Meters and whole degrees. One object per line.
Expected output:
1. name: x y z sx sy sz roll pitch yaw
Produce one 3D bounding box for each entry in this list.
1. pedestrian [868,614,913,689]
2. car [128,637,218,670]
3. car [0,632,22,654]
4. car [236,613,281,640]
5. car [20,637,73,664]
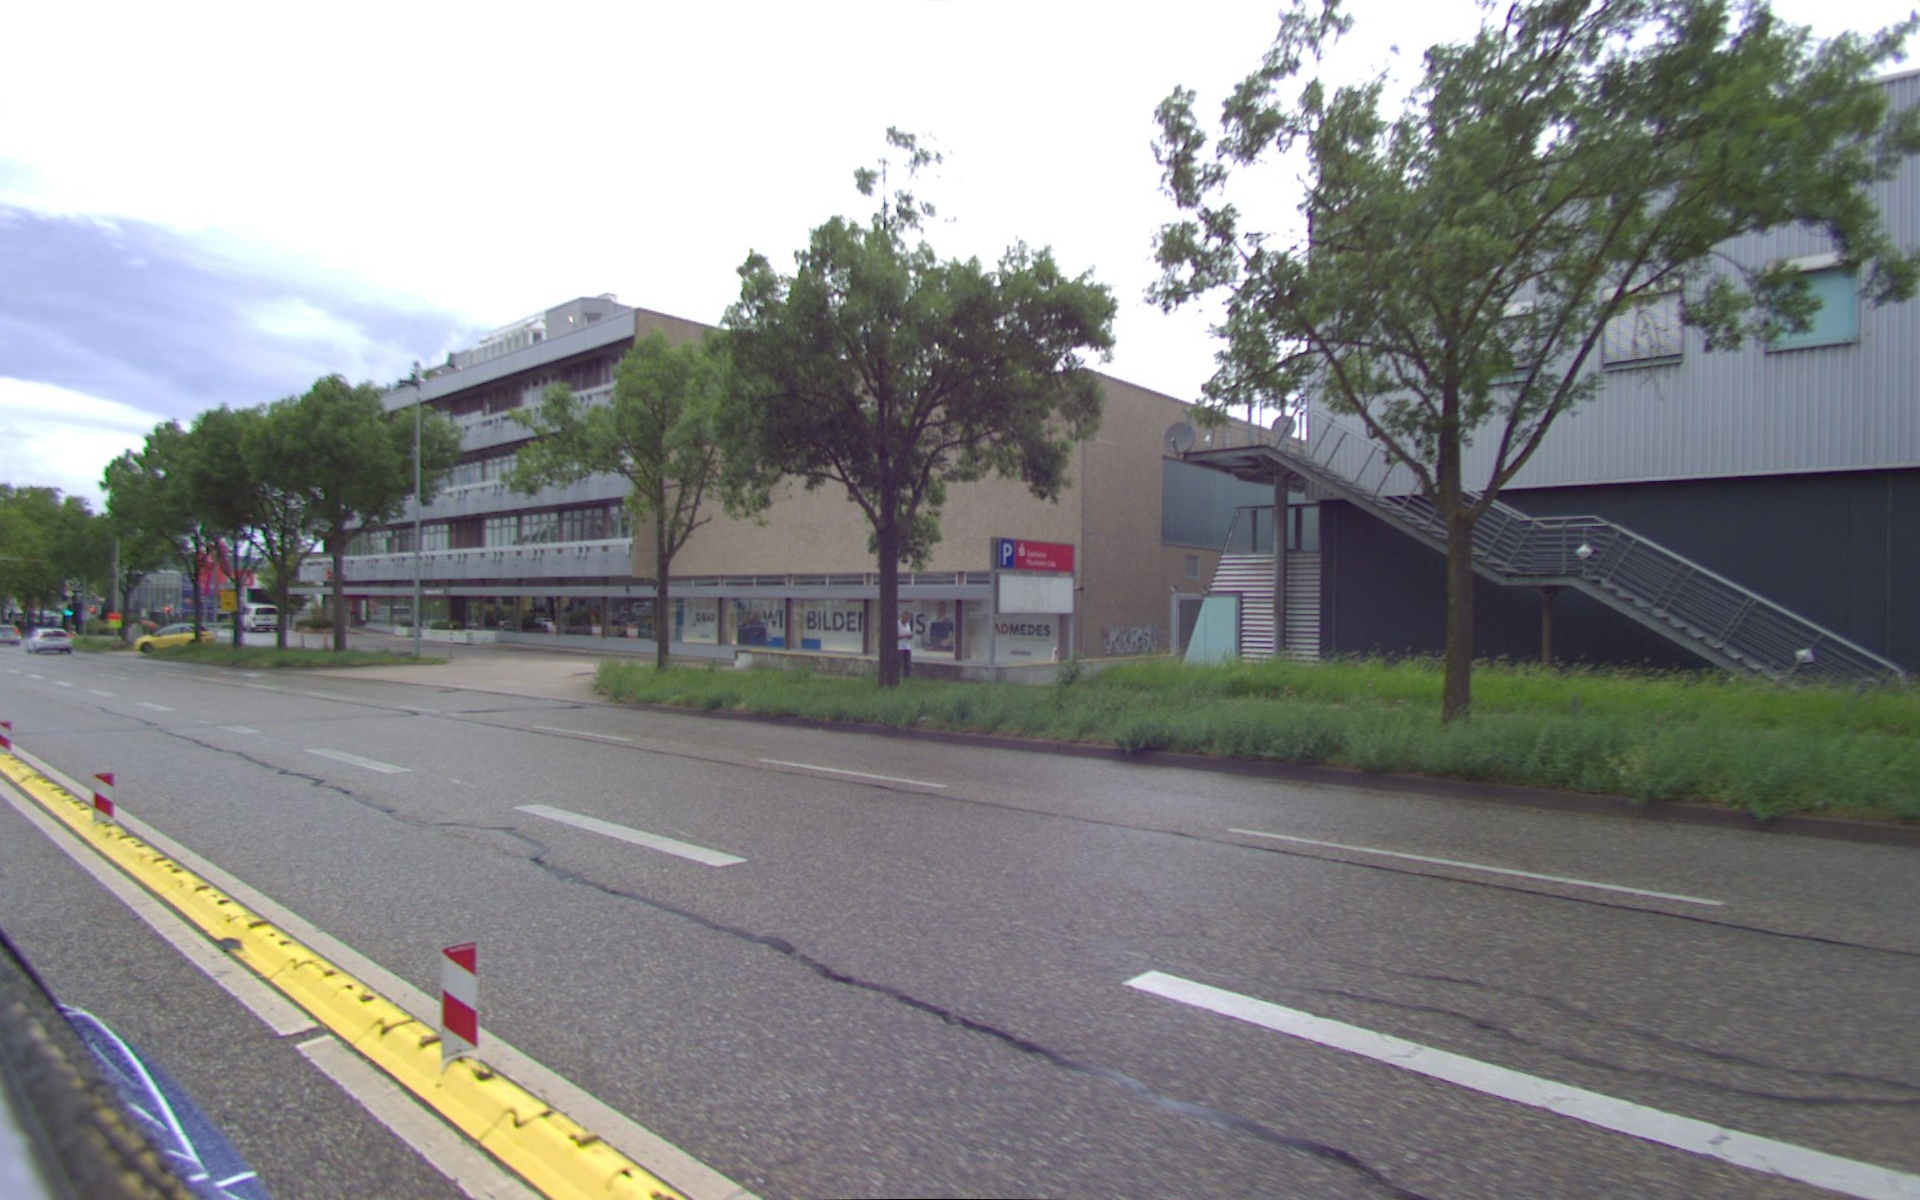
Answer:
1. pedestrian: -1.530 1.130 22.330 0.767 1.595 0.578 -2 0 42
2. car: -44.599 3.017 57.414 3.649 1.520 1.627 -3 2 -15
3. car: -71.151 3.184 75.142 4.779 1.565 1.722 -2 -3 41
4. car: -54.441 2.058 78.455 1.971 2.029 4.888 4 -3 -45
5. car: -53.021 2.917 58.735 4.466 1.417 1.722 -1 -3 41
